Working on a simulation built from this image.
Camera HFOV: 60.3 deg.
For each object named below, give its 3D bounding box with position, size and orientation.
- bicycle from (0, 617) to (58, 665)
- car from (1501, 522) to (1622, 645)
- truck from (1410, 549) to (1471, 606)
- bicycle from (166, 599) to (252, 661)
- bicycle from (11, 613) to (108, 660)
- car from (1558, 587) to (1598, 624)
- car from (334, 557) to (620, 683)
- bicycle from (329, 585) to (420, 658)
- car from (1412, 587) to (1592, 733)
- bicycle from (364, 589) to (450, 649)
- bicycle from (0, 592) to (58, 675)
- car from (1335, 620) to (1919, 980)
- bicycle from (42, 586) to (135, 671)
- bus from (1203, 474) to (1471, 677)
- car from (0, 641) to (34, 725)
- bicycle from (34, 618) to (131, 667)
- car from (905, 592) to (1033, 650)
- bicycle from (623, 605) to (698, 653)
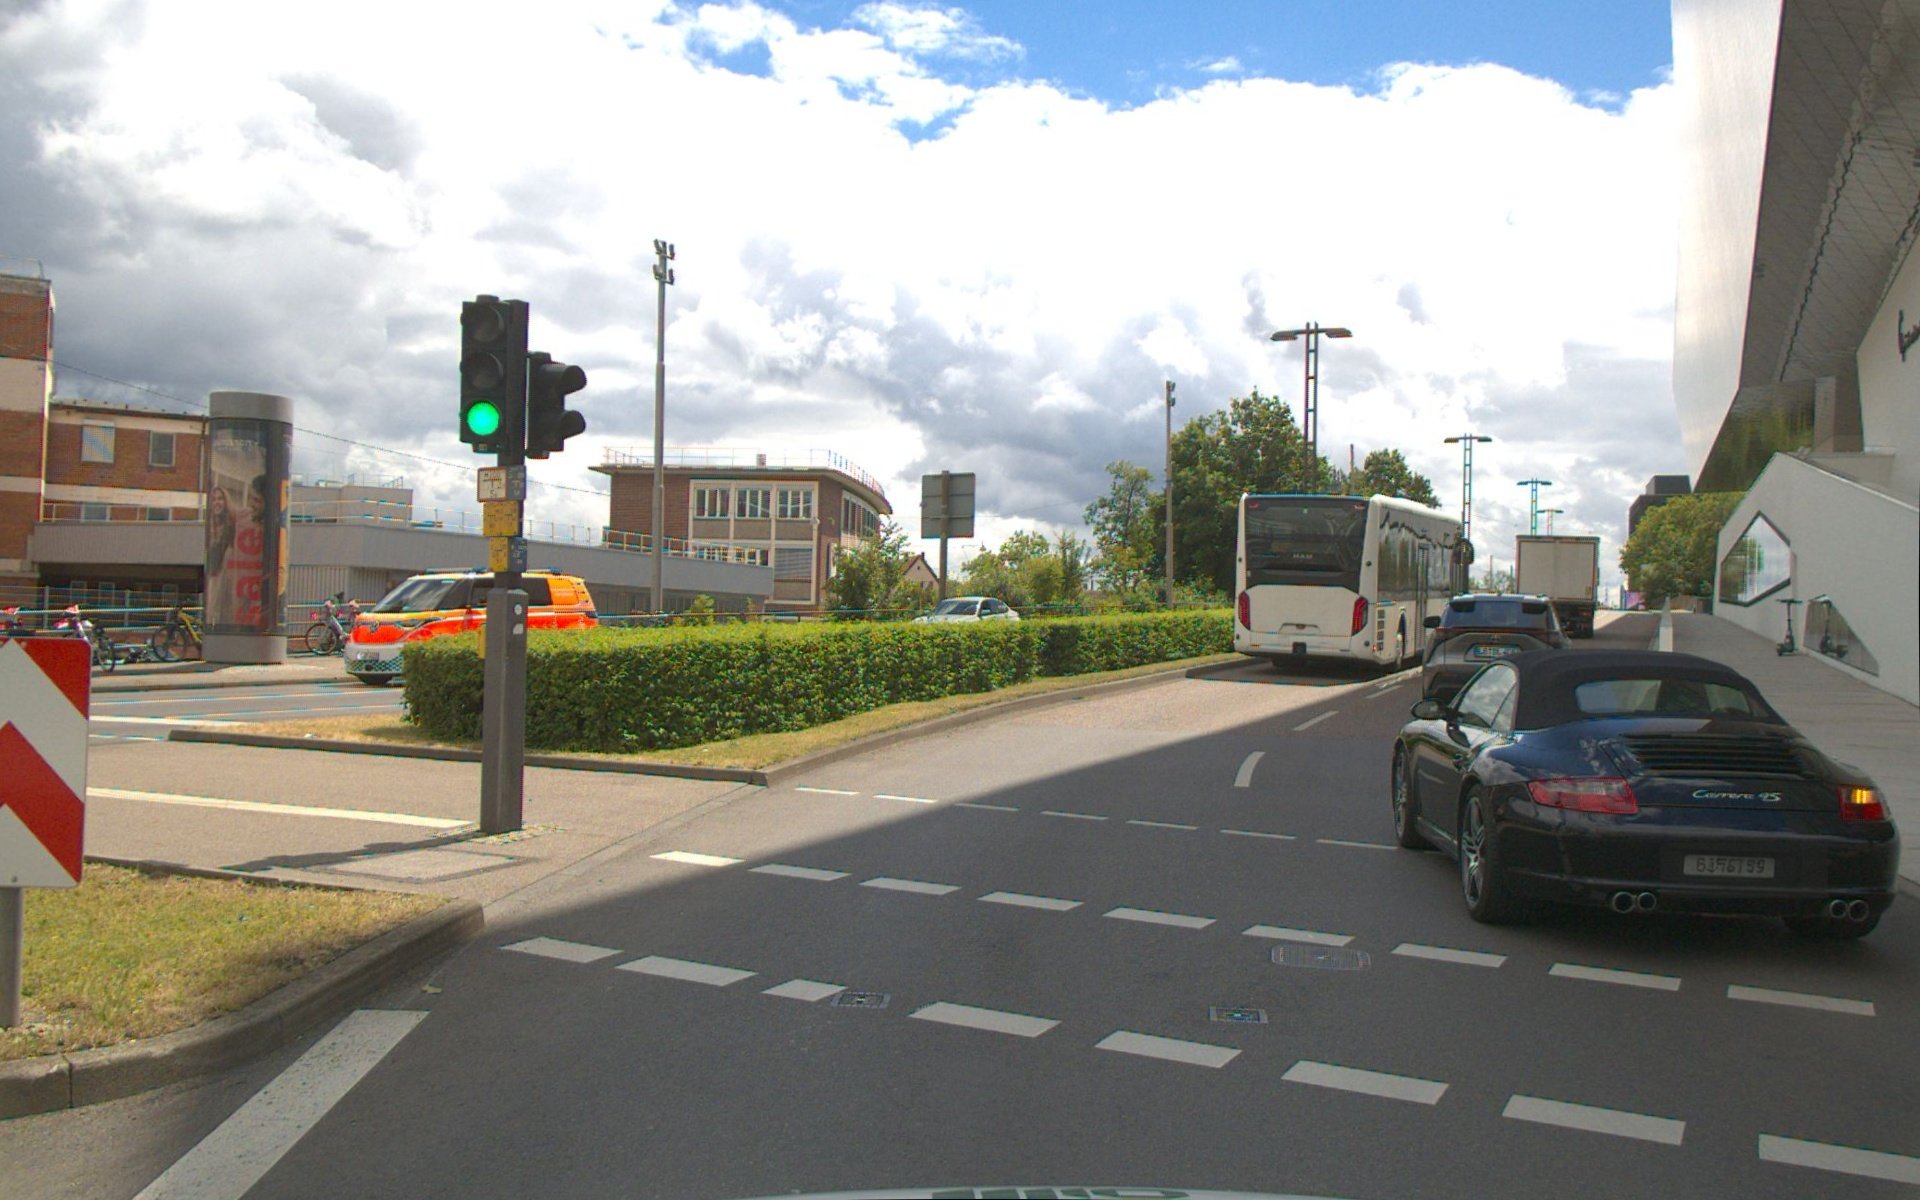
[{"bbox_3d":[-18.485,0.796,32.285,0.481,0.881,1.611,1,1,22],"label":"bicycle"},{"bbox_3d":[20.865,-0.426,57.007,3.269,3.565,9.336,2,-2,23],"label":"car"},{"bbox_3d":[30.876,-1.385,106.095,2.153,3.012,8.941,2,-2,26],"label":"truck"},{"bbox_3d":[-14.219,0.565,31.319,1.573,1.074,0.492,3,-2,24],"label":"bicycle"},{"bbox_3d":[-17.532,0.707,32.237,0.482,0.881,1.605,0,-1,34],"label":"bicycle"},{"bbox_3d":[36.072,0.336,96.571,1.952,1.937,4.001,3,-2,18],"label":"car"},{"bbox_3d":[-8.386,0.356,29.185,1.956,2.018,4.827,0,-1,30],"label":"car"},{"bbox_3d":[-12.100,0.450,34.185,1.702,1.405,0.669,2,-2,24],"label":"bicycle"},{"bbox_3d":[7.317,0.699,22.081,1.953,1.665,4.000,3,1,22],"label":"car"},{"bbox_3d":[-12.016,0.409,35.935,1.702,1.202,0.669,3,0,23],"label":"bicycle"},{"bbox_3d":[-15.997,0.546,27.842,1.573,1.339,0.492,2,-2,24],"label":"bicycle"},{"bbox_3d":[3.349,0.857,8.861,1.796,1.348,4.001,1,1,1],"label":"car"},{"bbox_3d":[-15.324,0.499,29.093,1.573,1.407,0.492,2,-2,24],"label":"bicycle"},{"bbox_3d":[8.209,-0.568,34.273,3.011,3.420,12.218,2,2,24],"label":"bus"},{"bbox_3d":[-23.116,1.846,38.393,3.420,1.835,1.695,2,-2,41],"label":"car"},{"bbox_3d":[-16.883,0.799,31.838,0.483,0.881,1.605,0,1,36],"label":"bicycle"},{"bbox_3d":[0.317,0.542,45.637,1.720,1.422,4.670,2,1,25],"label":"car"},{"bbox_3d":[-7.085,0.669,39.214,0.444,1.090,2.293,2,1,27],"label":"bicycle"}]
